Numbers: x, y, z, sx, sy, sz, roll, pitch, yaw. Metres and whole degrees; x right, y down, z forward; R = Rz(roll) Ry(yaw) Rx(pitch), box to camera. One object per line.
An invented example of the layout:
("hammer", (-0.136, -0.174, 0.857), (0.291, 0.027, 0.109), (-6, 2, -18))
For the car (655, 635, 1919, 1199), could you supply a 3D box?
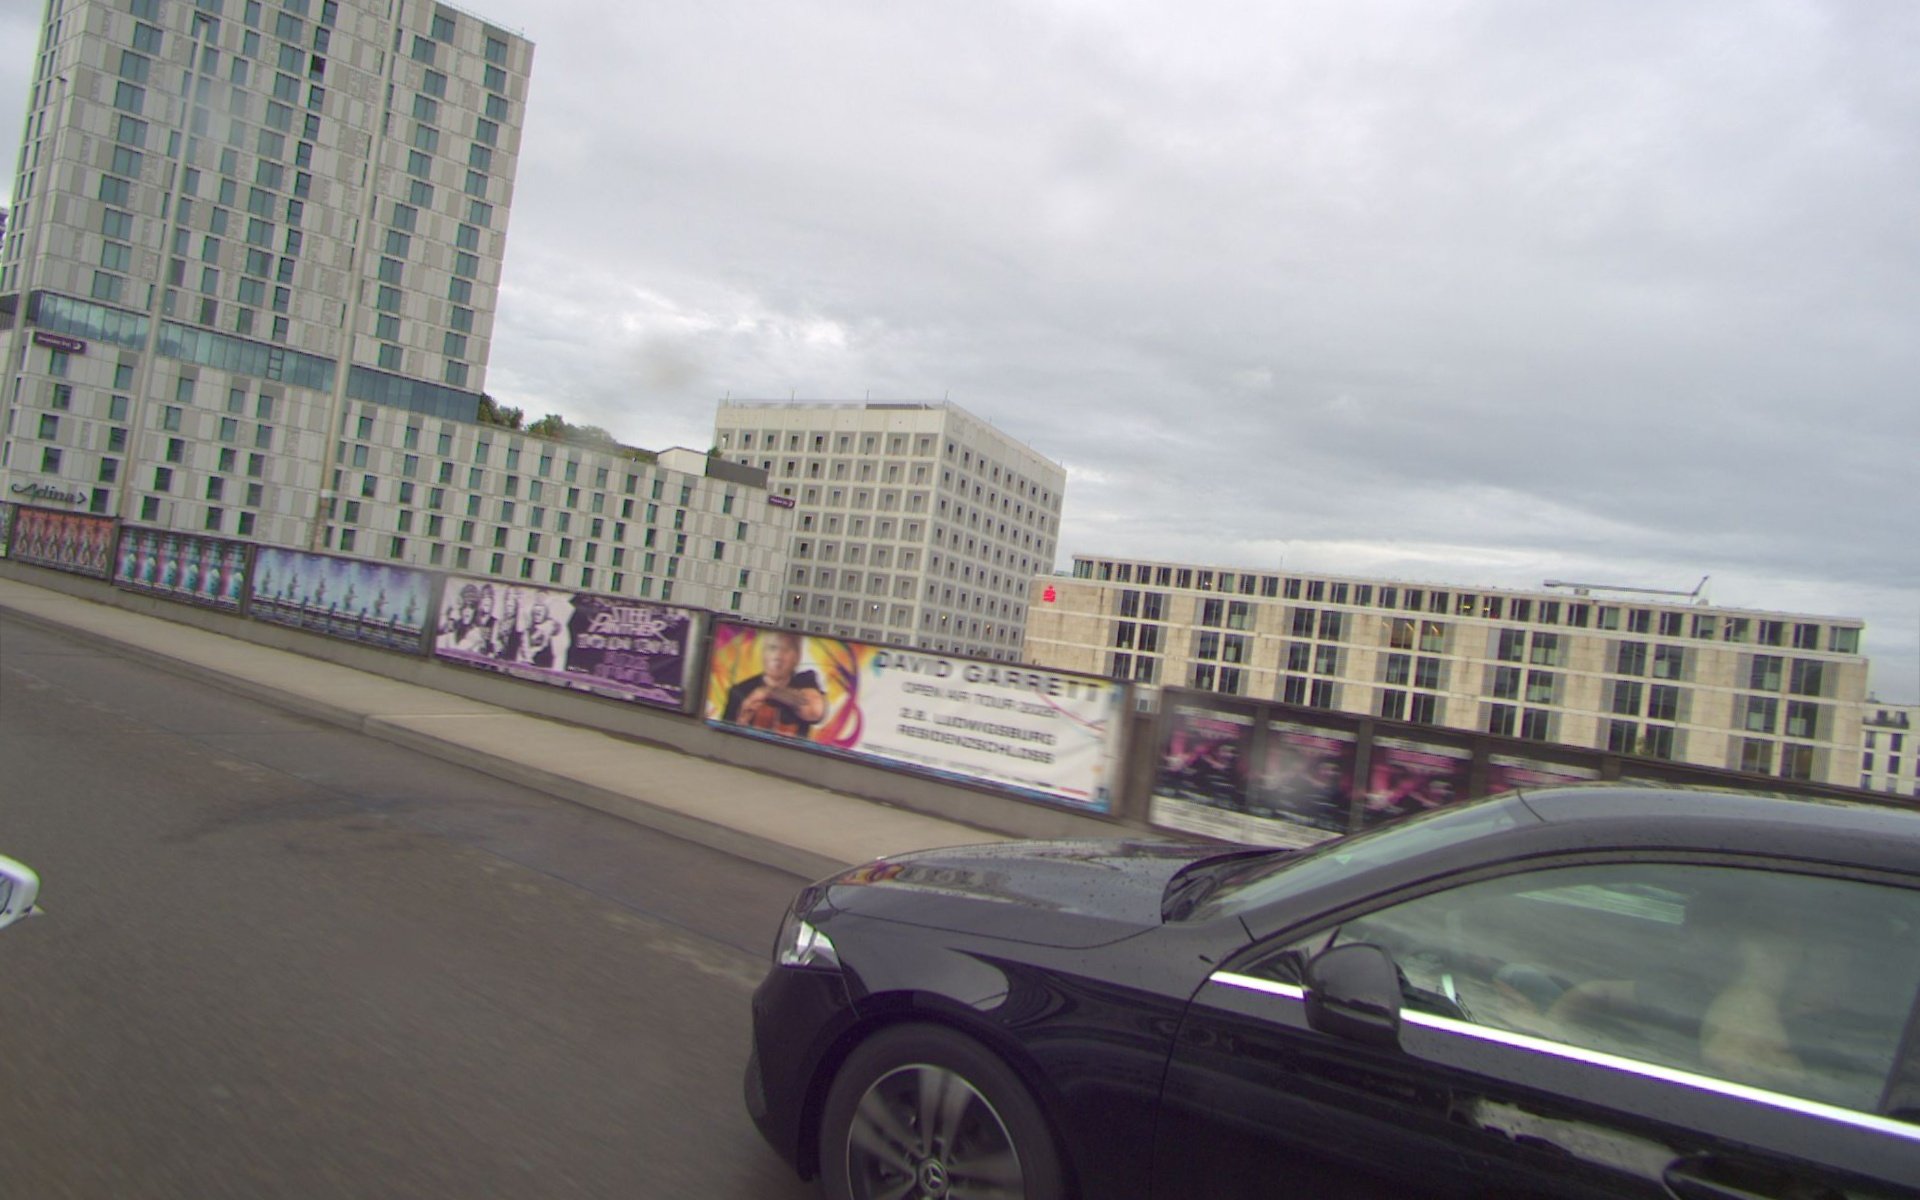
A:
("car", (1.489, 1.038, 2.200), (4.086, 1.392, 1.727), (6, -2, 31))
